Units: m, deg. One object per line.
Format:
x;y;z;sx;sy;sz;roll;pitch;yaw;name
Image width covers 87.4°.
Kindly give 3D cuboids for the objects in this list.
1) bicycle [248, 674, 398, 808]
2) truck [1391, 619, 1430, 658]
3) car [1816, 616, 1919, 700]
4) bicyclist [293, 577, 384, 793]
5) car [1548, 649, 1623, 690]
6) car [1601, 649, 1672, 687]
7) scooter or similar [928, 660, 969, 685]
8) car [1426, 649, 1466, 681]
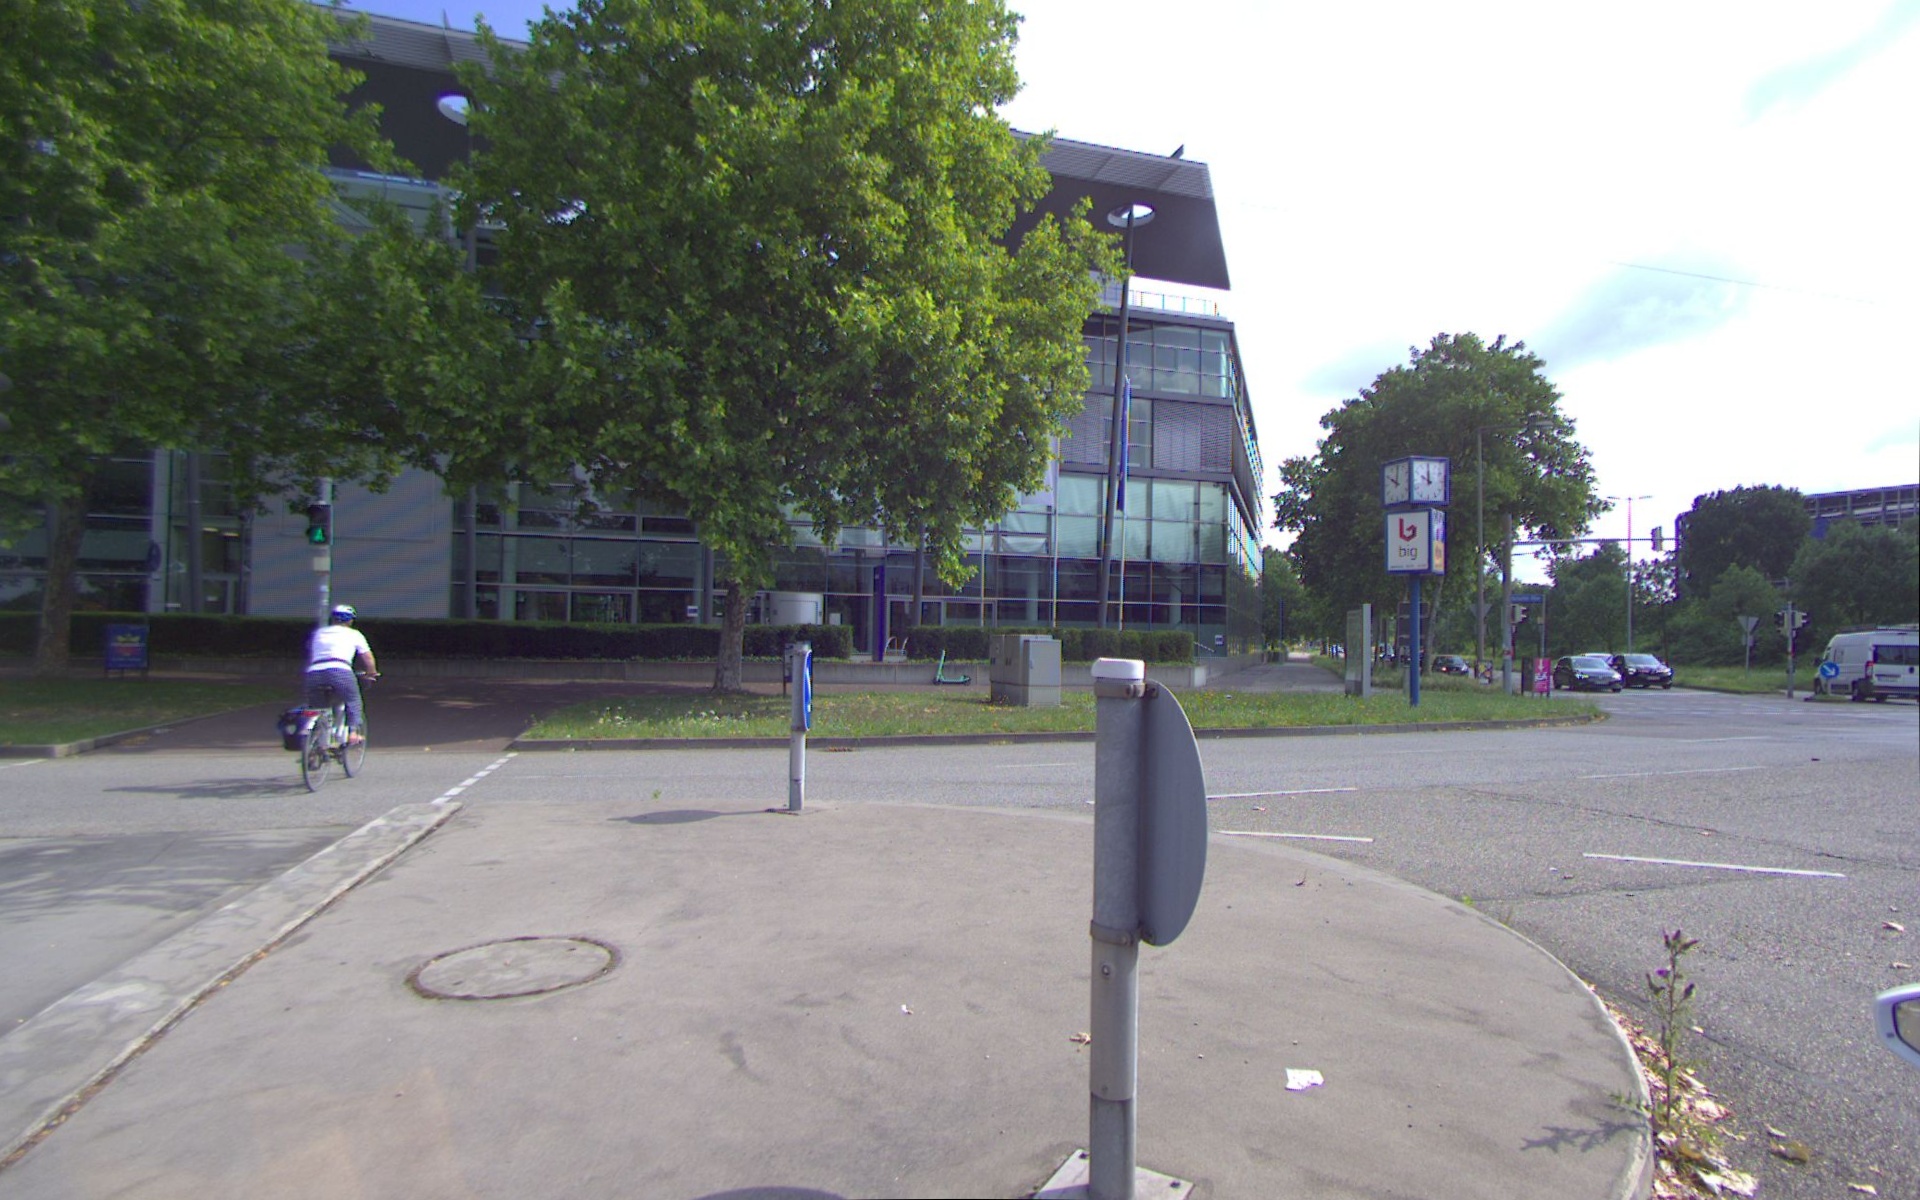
-6.228;1.317;9.966;0.874;1.100;2.170;2;-3;-23;bicycle
49.379;4.097;110.263;2.605;3.939;10.163;1;0;17;truck
32.889;2.071;36.056;2.164;2.762;4.927;1;-2;27;car
-6.150;0.831;9.971;0.595;2.039;0.727;2;-3;-23;bicyclist
27.152;2.981;43.755;1.834;1.594;4.569;1;-2;20;car
31.361;3.099;46.686;1.679;1.608;4.363;1;-2;20;car
-0.354;2.176;30.190;1.209;0.722;0.240;2;-1;-13;scooter or similar
30.398;4.014;62.911;1.700;1.593;4.000;4;2;19;car
